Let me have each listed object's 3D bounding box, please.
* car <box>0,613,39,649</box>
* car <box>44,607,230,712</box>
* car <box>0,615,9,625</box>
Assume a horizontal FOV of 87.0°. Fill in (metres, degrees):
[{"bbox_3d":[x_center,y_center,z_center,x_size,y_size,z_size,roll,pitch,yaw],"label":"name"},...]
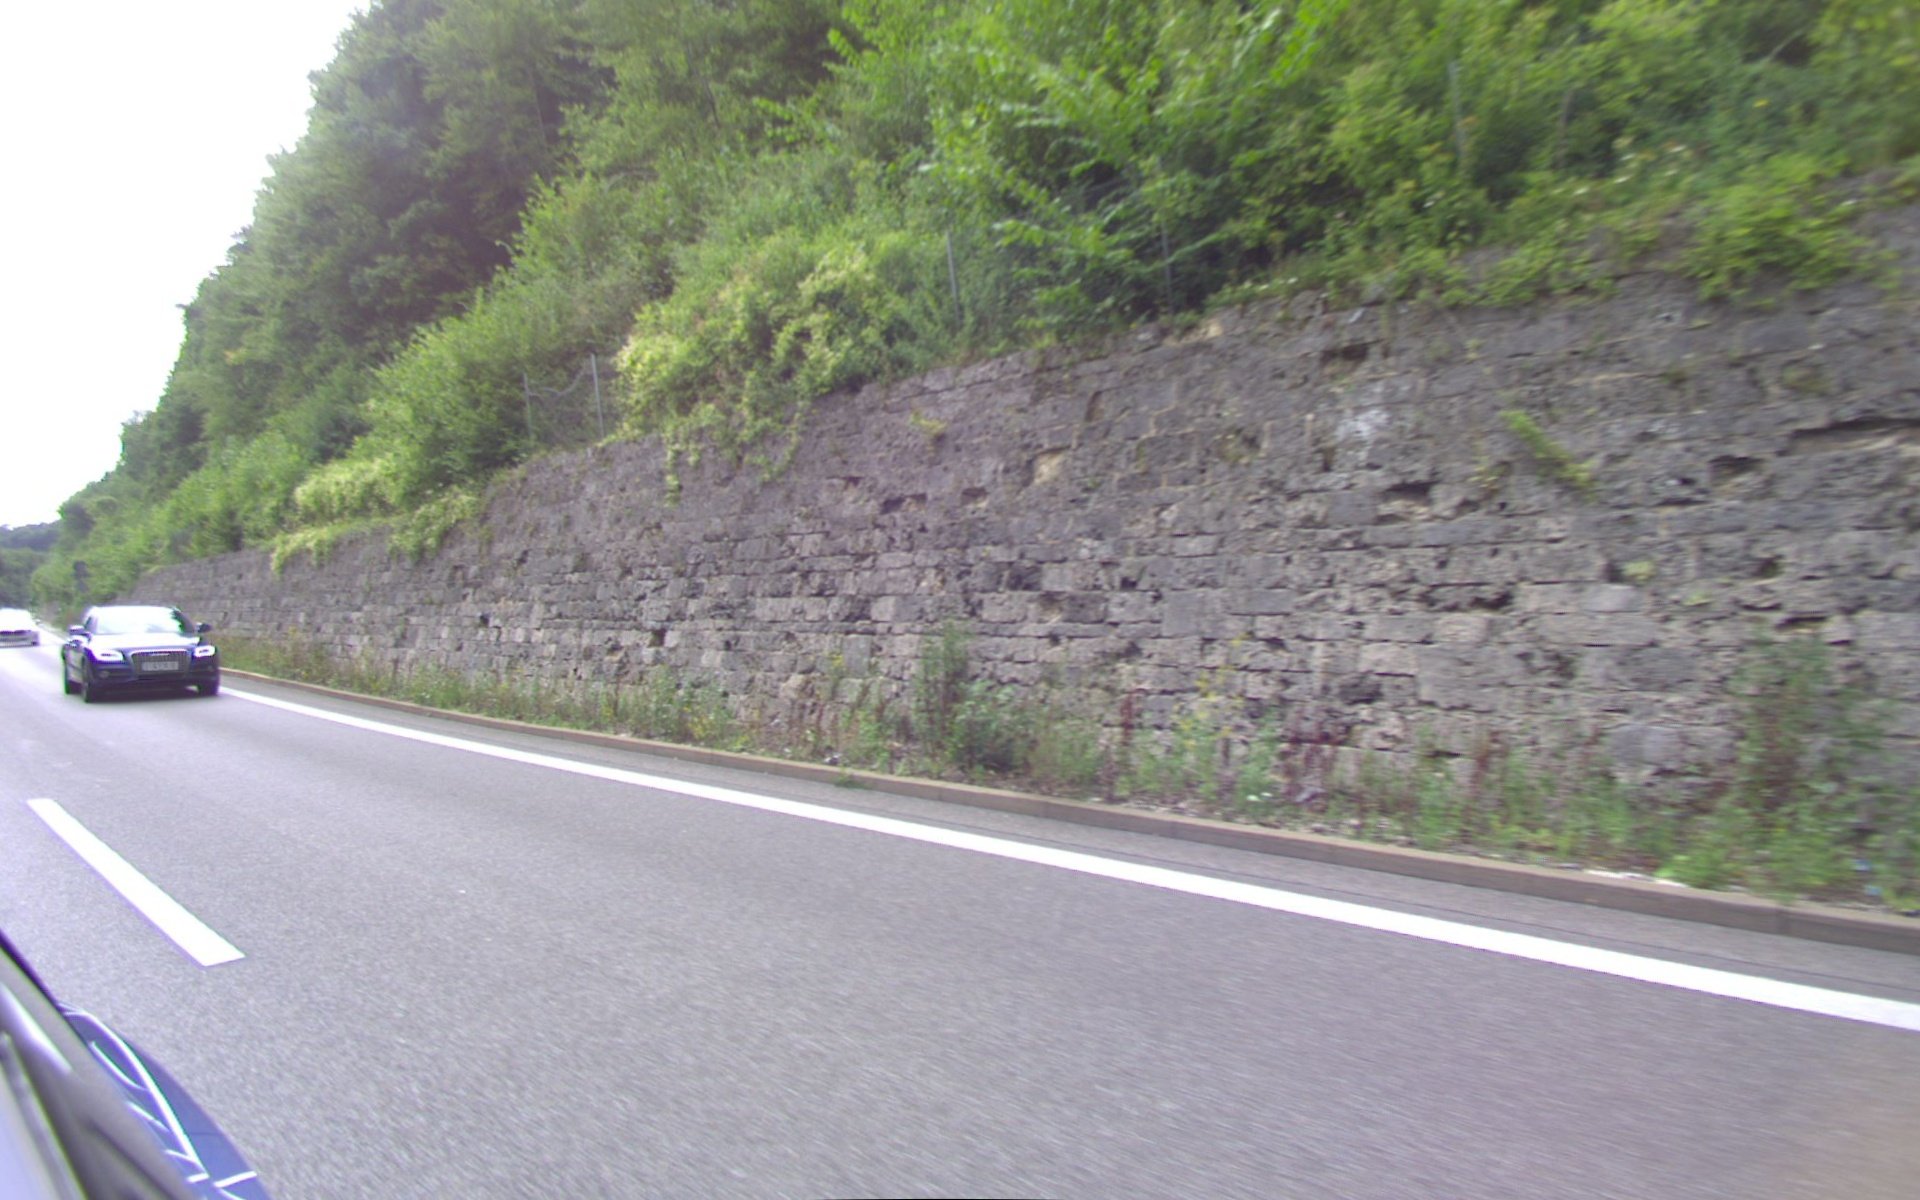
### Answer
[{"bbox_3d":[-43.097,1.421,46.031,1.797,1.567,4.004,0,-2,-42],"label":"car"},{"bbox_3d":[-15.717,0.991,19.193,5.586,1.605,1.950,0,2,43],"label":"car"},{"bbox_3d":[-156.896,3.276,165.614,1.796,1.567,4.005,0,-2,-42],"label":"car"}]
